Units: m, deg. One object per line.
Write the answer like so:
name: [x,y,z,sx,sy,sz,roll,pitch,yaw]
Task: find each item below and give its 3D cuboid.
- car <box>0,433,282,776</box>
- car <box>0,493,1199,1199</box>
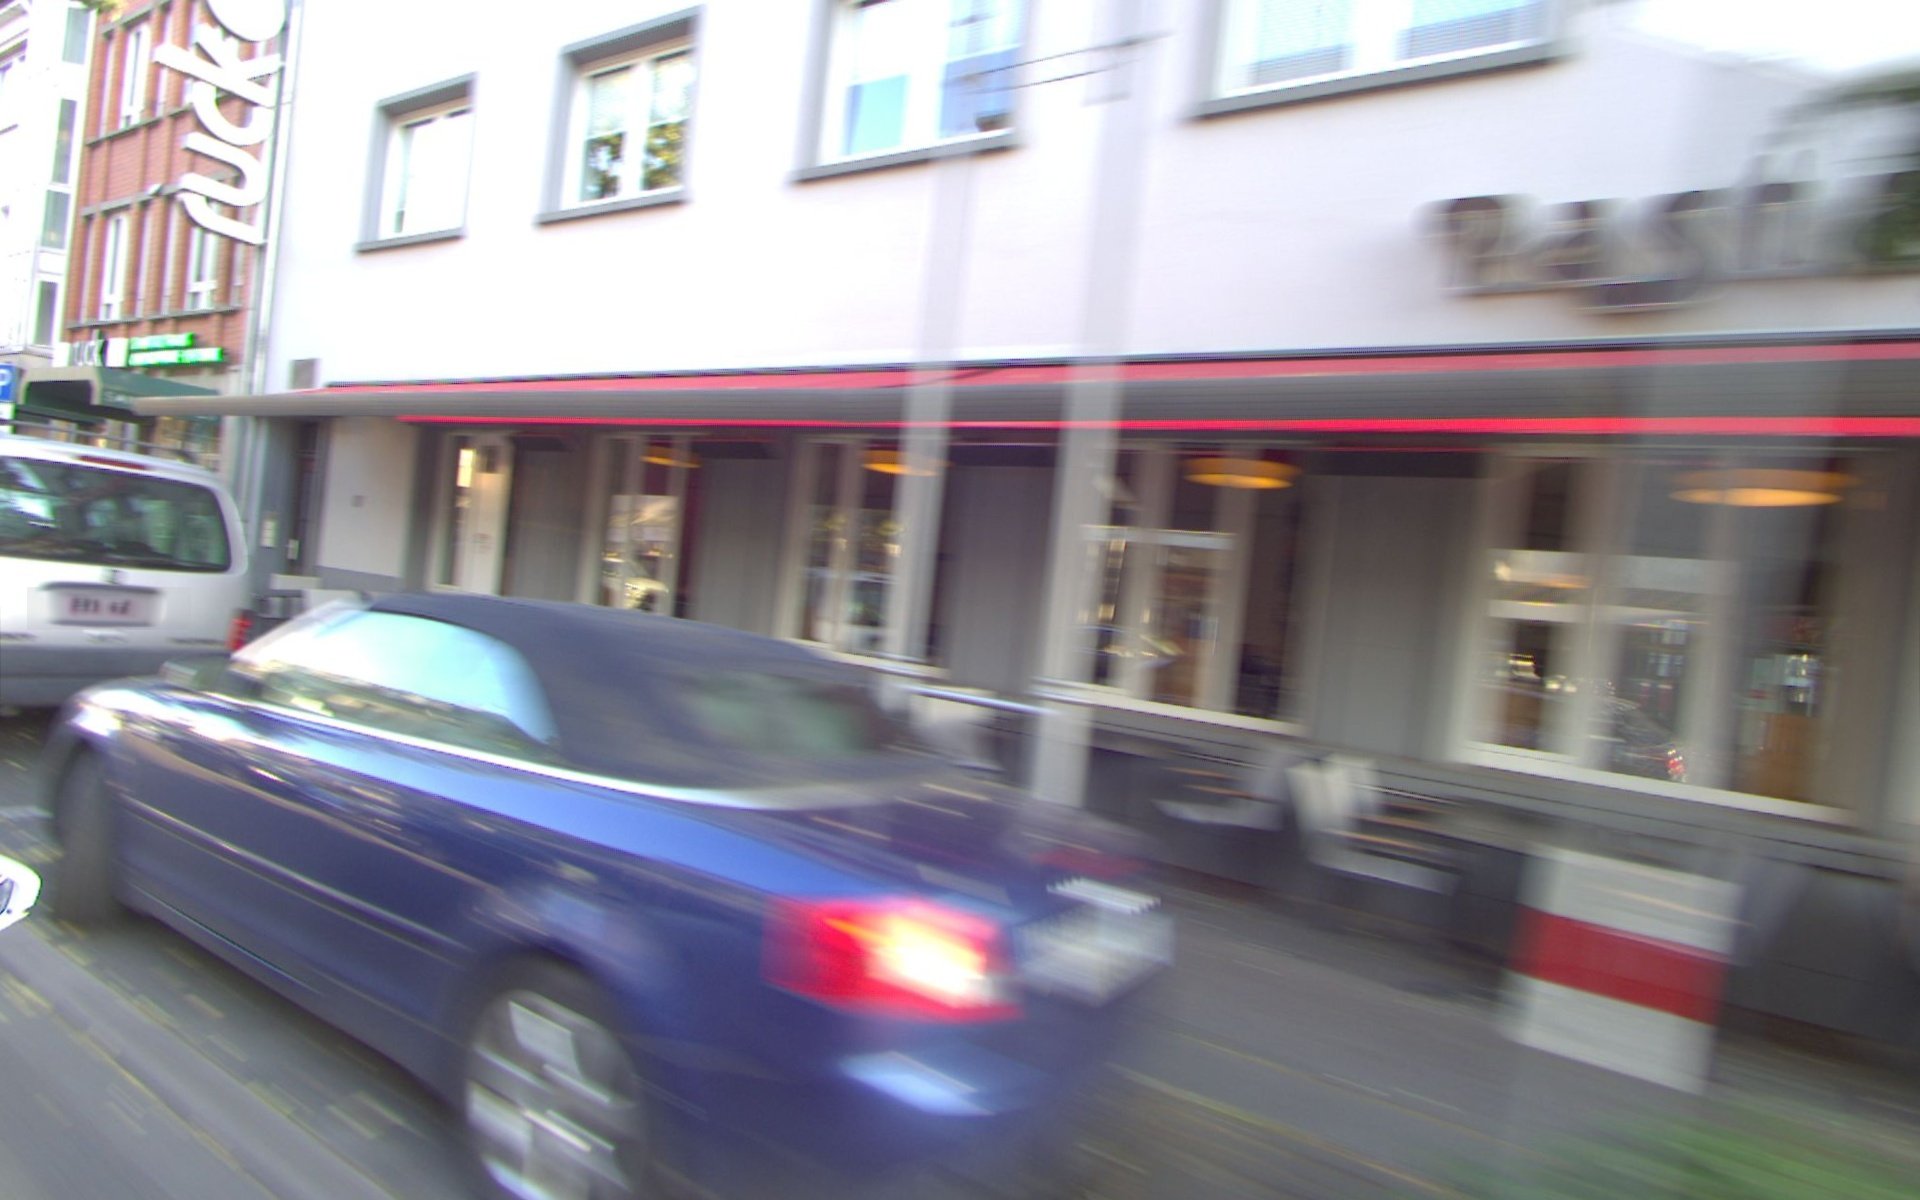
car: [-6.552,-0.136,6.629,3.942,1.799,1.658,7,-1,28]
car: [-1.534,0.589,3.486,4.111,1.392,1.942,7,-3,30]
